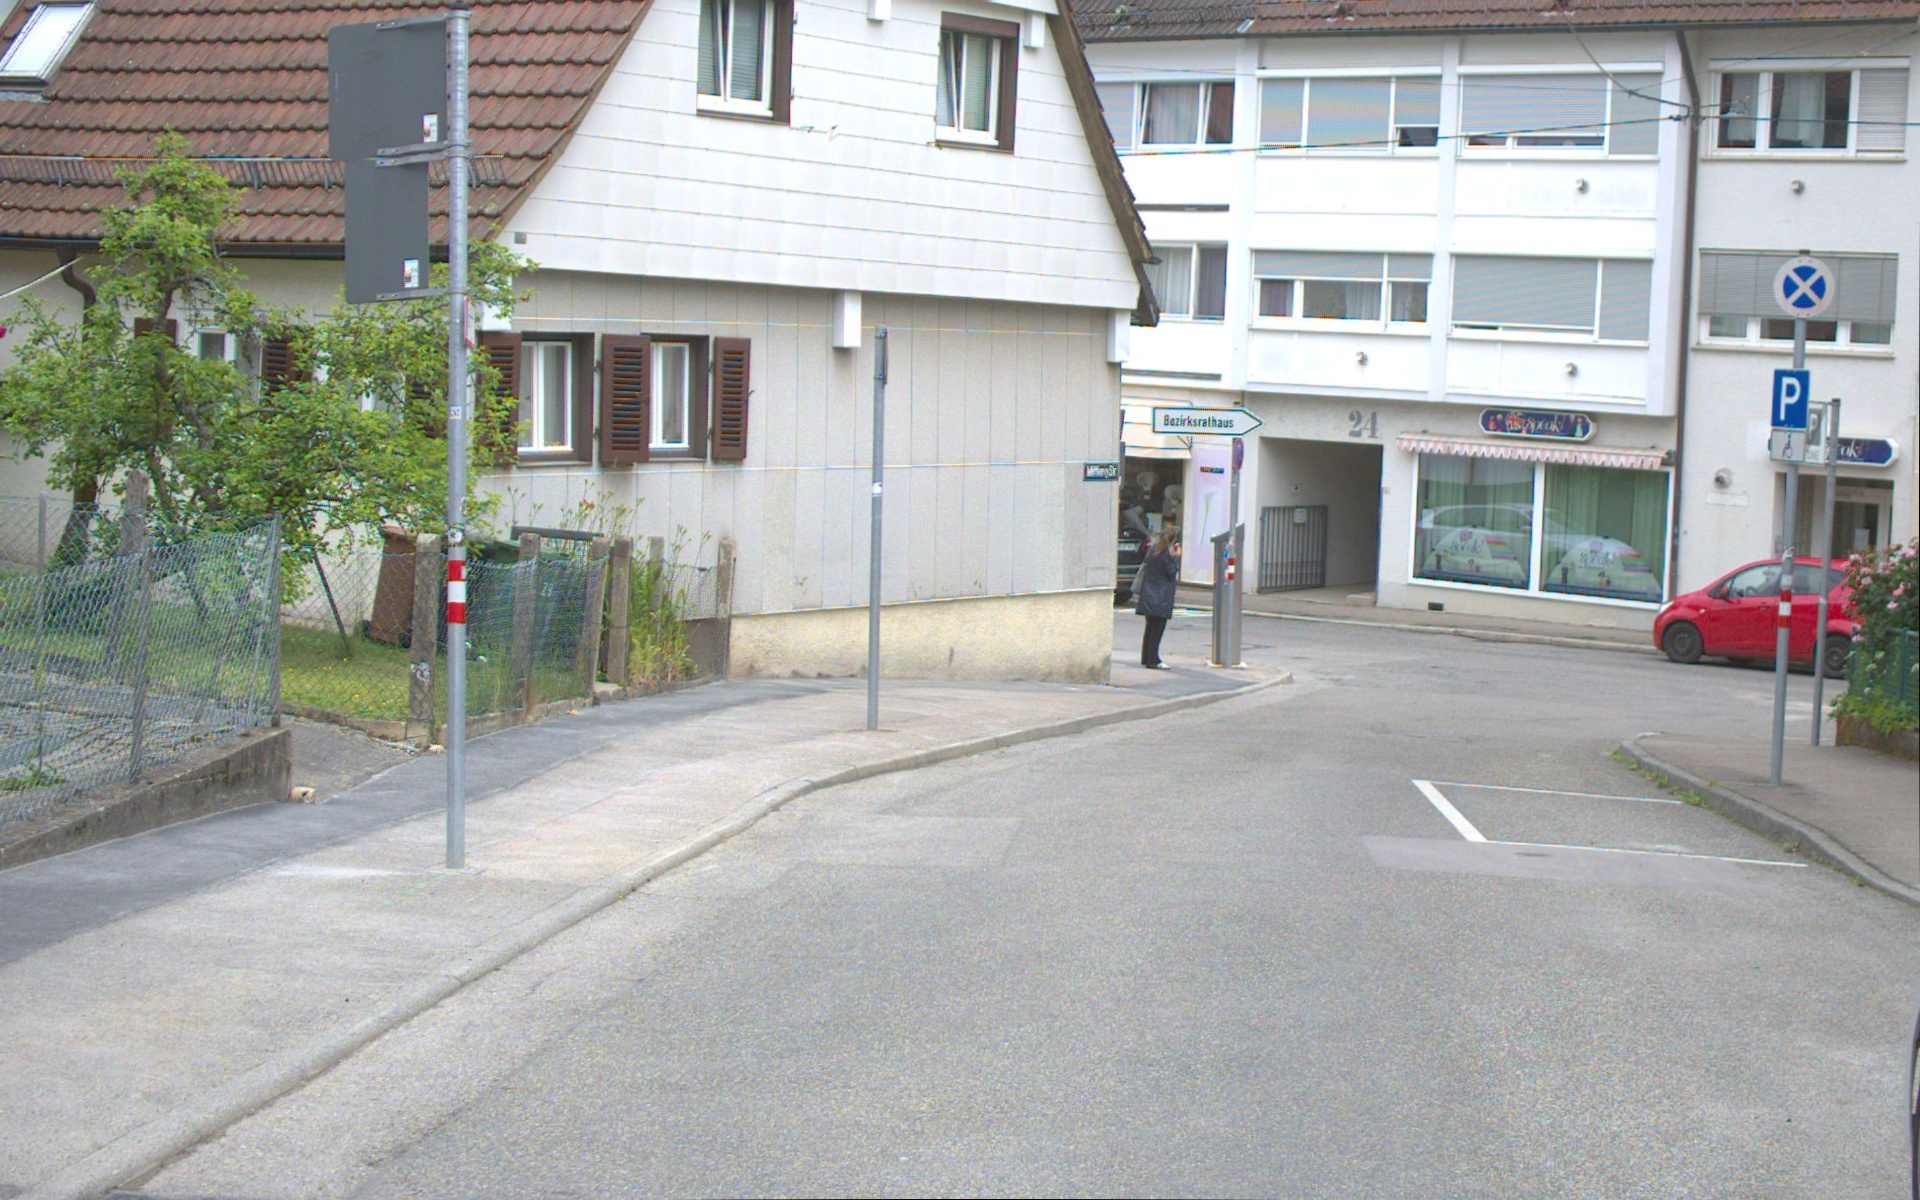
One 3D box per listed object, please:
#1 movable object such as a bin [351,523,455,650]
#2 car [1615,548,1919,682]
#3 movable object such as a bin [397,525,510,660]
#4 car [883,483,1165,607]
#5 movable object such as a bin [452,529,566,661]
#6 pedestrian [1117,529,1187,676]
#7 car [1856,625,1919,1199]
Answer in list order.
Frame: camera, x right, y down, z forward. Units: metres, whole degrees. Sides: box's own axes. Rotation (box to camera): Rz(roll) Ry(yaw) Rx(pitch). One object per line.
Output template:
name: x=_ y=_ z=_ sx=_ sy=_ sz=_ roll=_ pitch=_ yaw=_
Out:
movable object such as a bin: x=-4.152 y=-0.101 z=25.622 sx=0.495 sy=0.875 sz=0.452 roll=8 pitch=1 yaw=33
car: x=11.055 y=0.185 z=47.112 sx=3.693 sy=1.551 sz=1.693 roll=6 pitch=3 yaw=45
movable object such as a bin: x=-3.723 y=-0.051 z=25.278 sx=0.528 sy=0.914 sz=0.489 roll=8 pitch=1 yaw=33
car: x=1.008 y=-0.921 z=56.067 sx=4.366 sy=1.773 sz=1.942 roll=5 pitch=4 yaw=43
movable object such as a bin: x=-3.280 y=-0.034 z=25.006 sx=0.528 sy=0.881 sz=0.489 roll=8 pitch=1 yaw=33
pedestrian: x=2.259 y=0.020 z=40.436 sx=0.647 sy=1.679 sz=0.604 roll=4 pitch=2 yaw=12
car: x=2.953 y=0.869 z=5.745 sx=1.795 sy=1.440 sz=4.298 roll=4 pitch=1 yaw=1
